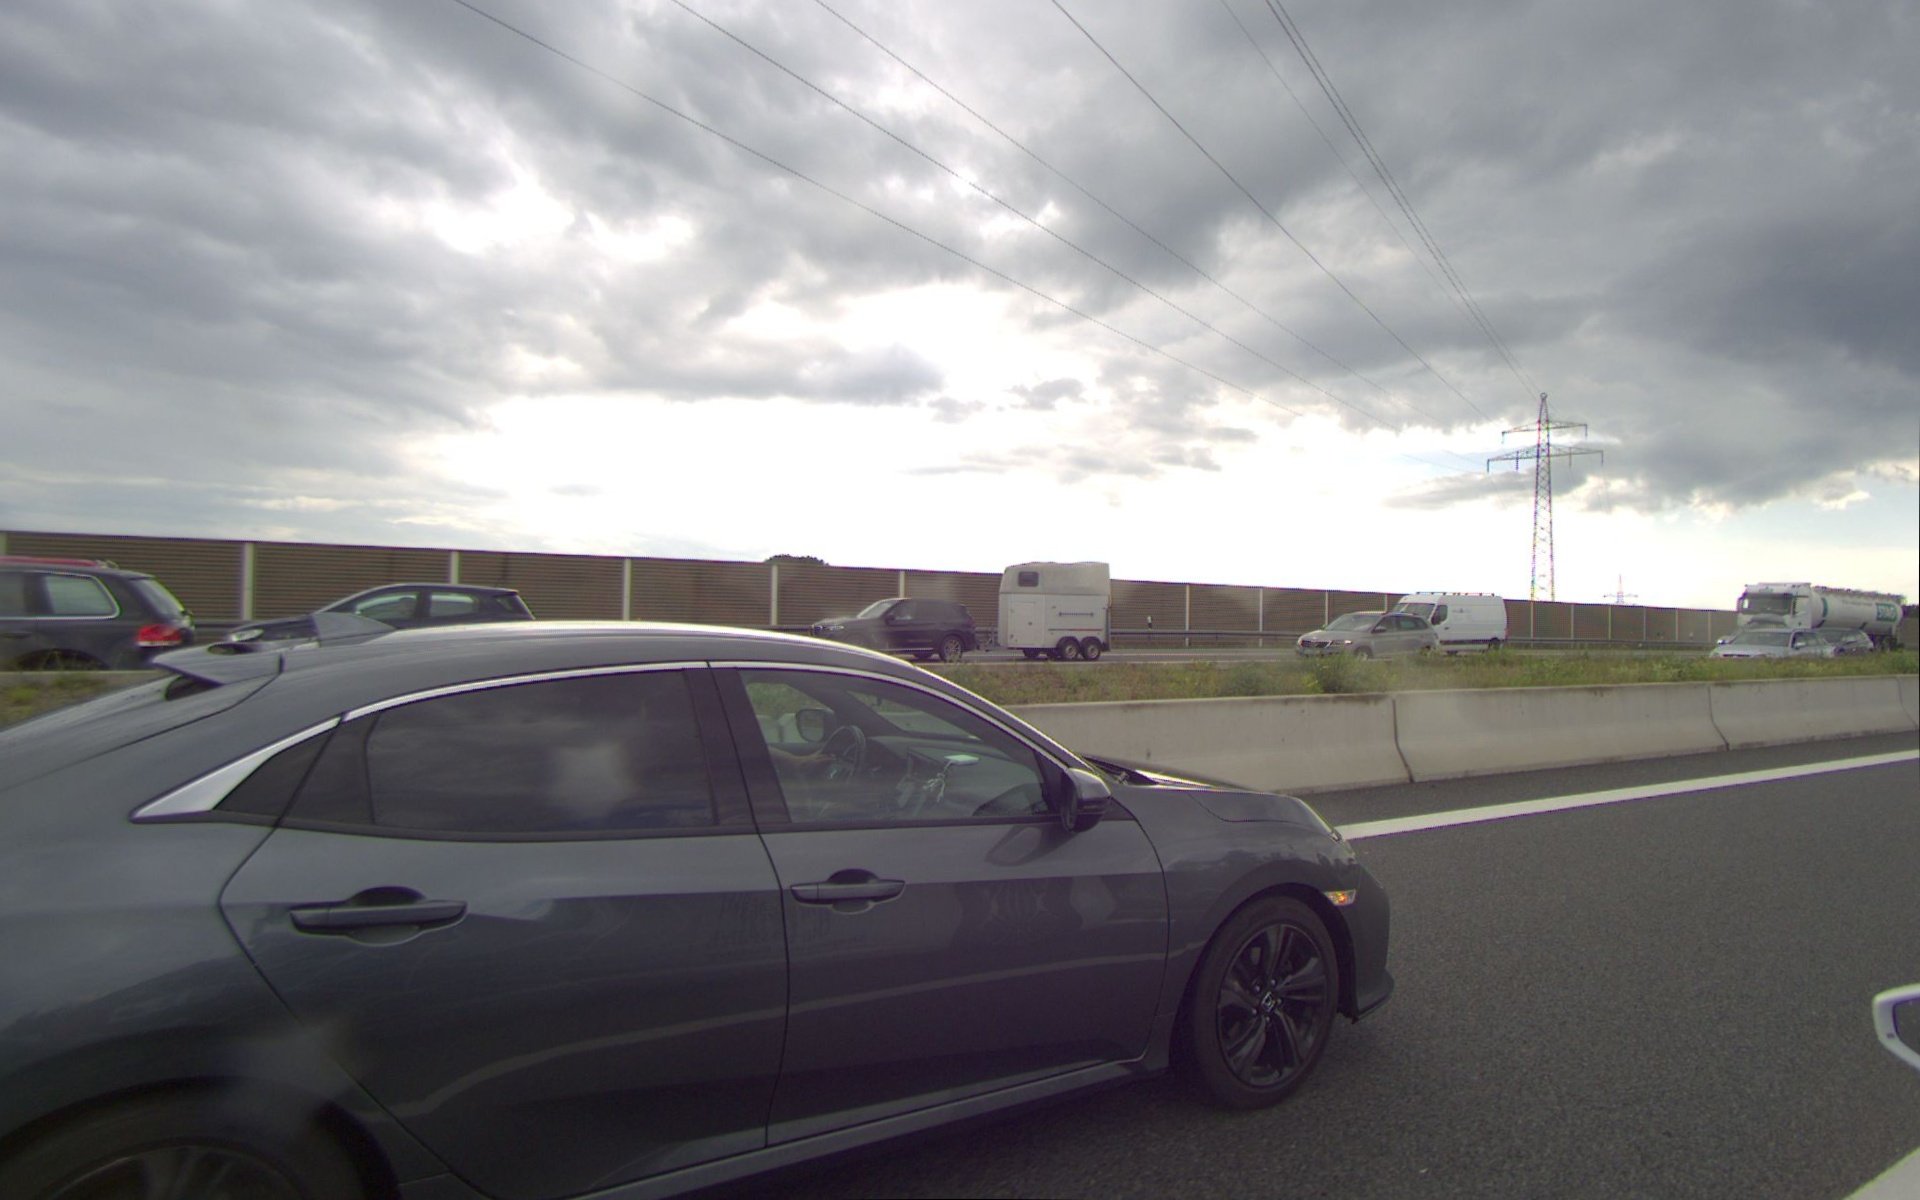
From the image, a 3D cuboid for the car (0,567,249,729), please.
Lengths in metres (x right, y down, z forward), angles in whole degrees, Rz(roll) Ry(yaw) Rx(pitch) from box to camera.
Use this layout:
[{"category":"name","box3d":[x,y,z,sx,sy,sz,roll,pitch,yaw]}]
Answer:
[{"category":"car","box3d":[-9.828,0.405,9.513,4.887,1.473,1.817,2,0,-31]}]

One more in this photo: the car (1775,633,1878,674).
[{"category":"car","box3d":[34.602,2.110,40.093,4.513,1.473,1.778,2,0,-31]}]

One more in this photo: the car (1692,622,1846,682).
[{"category":"car","box3d":[23.110,1.444,28.660,4.688,1.546,1.983,1,0,-32]}]

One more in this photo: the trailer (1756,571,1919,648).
[{"category":"trailer","box3d":[53.054,0.664,60.613,12.321,4.293,3.642,2,0,-30]}]

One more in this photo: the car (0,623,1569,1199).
[{"category":"car","box3d":[-0.361,0.804,3.157,5.001,1.387,1.752,1,0,-31]}]

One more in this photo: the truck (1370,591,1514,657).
[{"category":"truck","box3d":[19.278,0.962,40.070,6.191,2.484,2.092,2,0,-31]}]

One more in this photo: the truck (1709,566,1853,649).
[{"category":"truck","box3d":[46.324,0.454,56.631,8.141,4.376,3.643,2,0,-30]}]

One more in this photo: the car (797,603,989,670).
[{"category":"car","box3d":[-1.757,0.962,26.973,4.766,1.616,1.955,2,0,-31]}]

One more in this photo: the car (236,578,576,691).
[{"category":"car","box3d":[-8.072,0.485,14.928,4.185,1.473,1.756,2,0,-31]}]

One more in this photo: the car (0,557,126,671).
[{"category":"car","box3d":[-17.989,0.206,17.638,4.887,1.993,1.756,2,0,-31]}]

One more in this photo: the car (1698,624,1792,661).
[{"category":"car","box3d":[34.793,1.877,44.495,4.513,1.488,1.778,2,0,-31]}]

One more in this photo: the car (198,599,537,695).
[{"category":"car","box3d":[-10.185,0.784,17.640,4.887,1.473,1.756,2,0,-31]}]

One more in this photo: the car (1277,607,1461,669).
[{"category":"car","box3d":[10.811,0.984,26.448,4.887,1.473,1.955,2,0,-31]}]

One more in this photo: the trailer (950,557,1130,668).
[{"category":"trailer","box3d":[2.386,0.373,29.496,4.845,3.001,2.236,1,0,-31]}]
